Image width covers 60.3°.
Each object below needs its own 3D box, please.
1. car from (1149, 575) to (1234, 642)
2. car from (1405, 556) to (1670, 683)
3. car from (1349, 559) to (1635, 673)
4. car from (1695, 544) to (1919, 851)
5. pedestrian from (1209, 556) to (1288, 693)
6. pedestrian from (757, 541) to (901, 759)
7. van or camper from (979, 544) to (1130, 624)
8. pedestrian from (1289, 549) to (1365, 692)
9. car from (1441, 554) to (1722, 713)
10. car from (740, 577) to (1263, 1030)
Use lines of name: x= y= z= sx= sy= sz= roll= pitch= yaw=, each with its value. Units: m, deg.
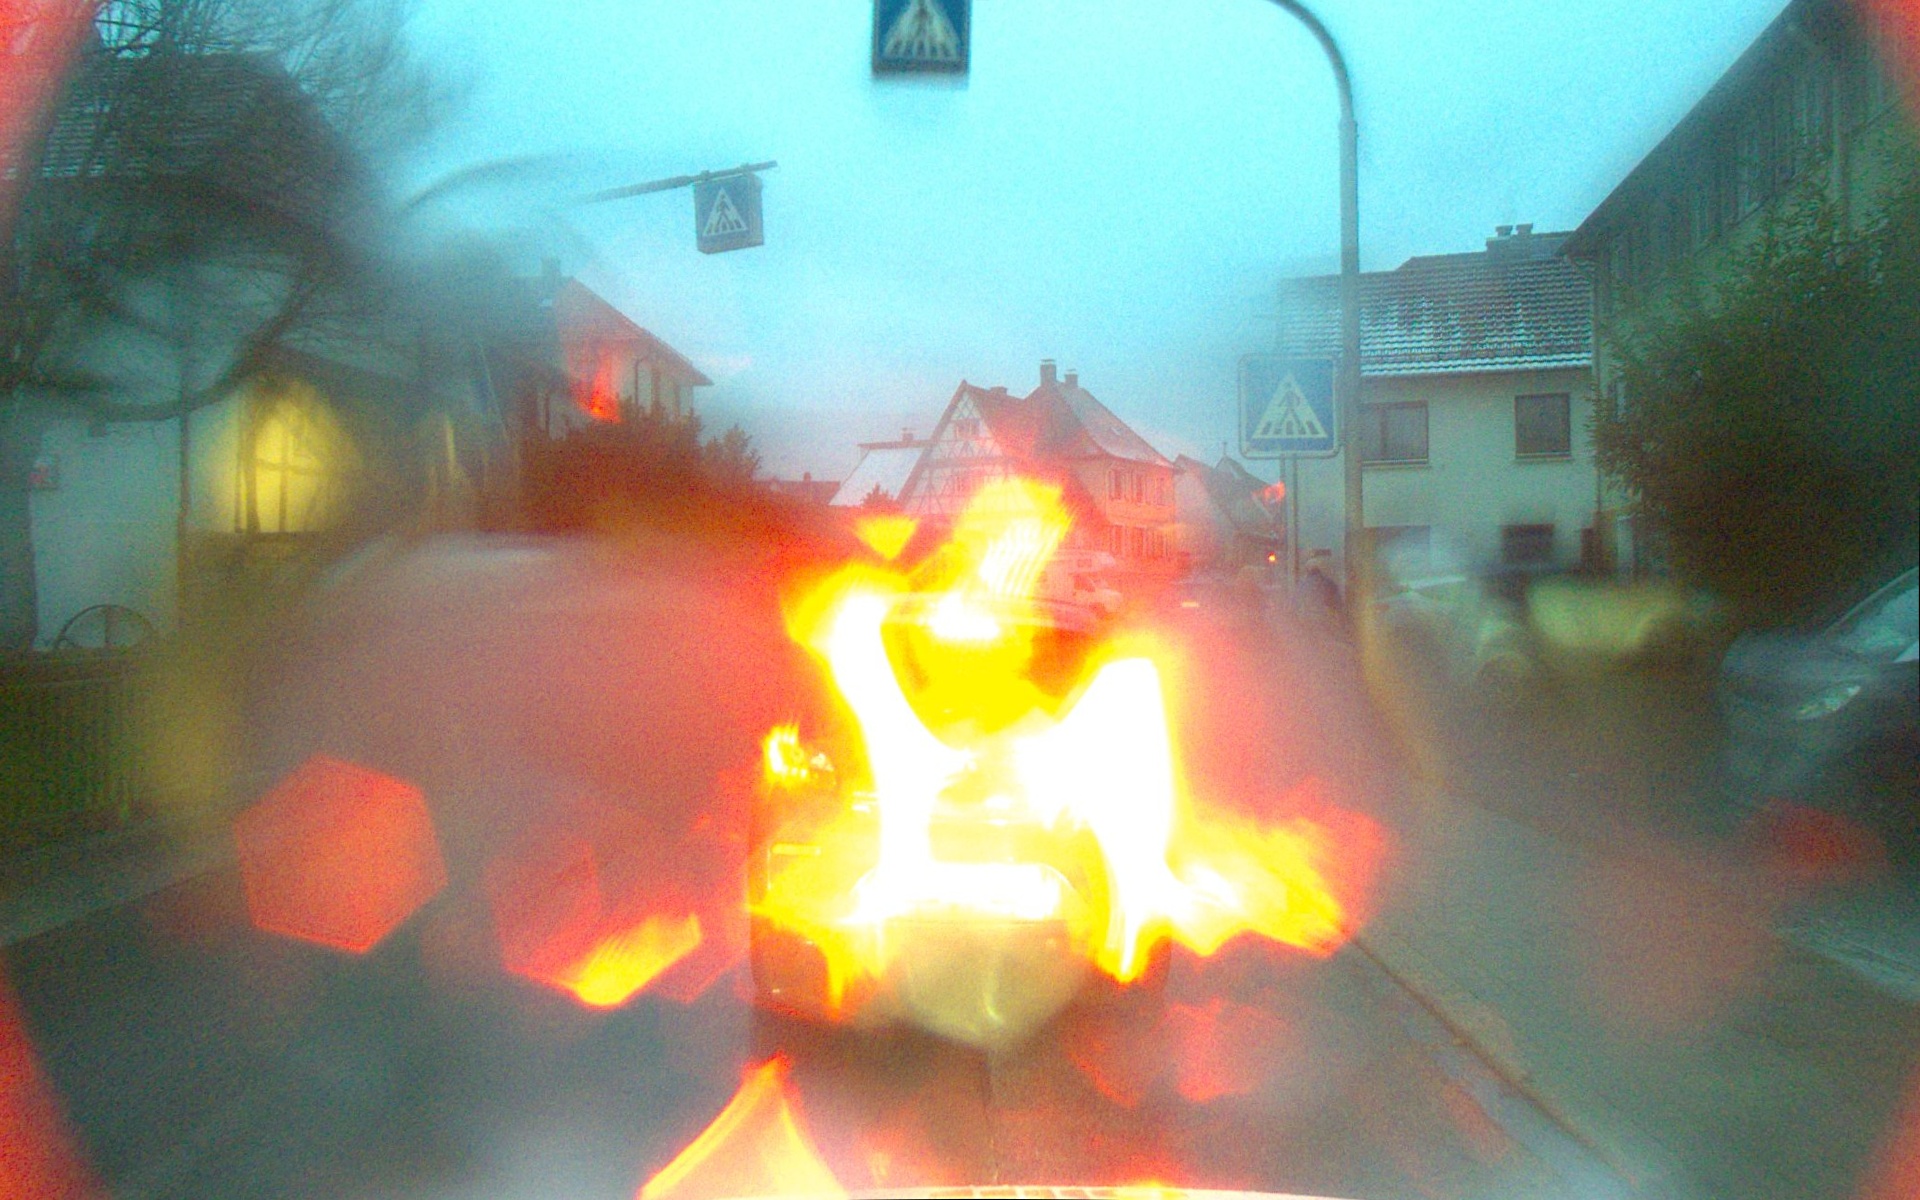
car: x=6.217 y=0.198 z=44.108 sx=1.808 sy=1.665 sz=4.339 roll=0 pitch=0 yaw=14
car: x=7.472 y=0.246 z=21.630 sx=2.999 sy=1.499 sz=1.551 roll=-2 pitch=0 yaw=9
car: x=7.884 y=0.234 z=24.830 sx=3.816 sy=1.499 sz=1.752 roll=-2 pitch=0 yaw=9
car: x=5.566 y=0.436 z=8.767 sx=2.704 sy=1.499 sz=1.428 roll=-2 pitch=0 yaw=7
pedestrian: x=3.784 y=0.306 z=21.634 sx=0.848 sy=1.695 sz=0.993 roll=-4 pitch=0 yaw=14
pedestrian: x=-1.112 y=0.415 z=14.241 sx=0.861 sy=1.765 sz=0.956 roll=-4 pitch=0 yaw=14
van or camper: x=4.108 y=-0.677 z=71.617 sx=5.937 sy=3.006 sz=2.406 roll=-4 pitch=-1 yaw=22
pedestrian: x=4.746 y=0.253 z=21.365 sx=0.830 sy=1.763 sz=0.972 roll=-4 pitch=0 yaw=14
car: x=6.730 y=0.340 z=18.108 sx=2.528 sy=1.574 sz=1.552 roll=-2 pitch=1 yaw=6
car: x=0.006 y=0.655 z=7.553 sx=1.760 sy=1.502 sz=3.997 roll=0 pitch=1 yaw=-4
